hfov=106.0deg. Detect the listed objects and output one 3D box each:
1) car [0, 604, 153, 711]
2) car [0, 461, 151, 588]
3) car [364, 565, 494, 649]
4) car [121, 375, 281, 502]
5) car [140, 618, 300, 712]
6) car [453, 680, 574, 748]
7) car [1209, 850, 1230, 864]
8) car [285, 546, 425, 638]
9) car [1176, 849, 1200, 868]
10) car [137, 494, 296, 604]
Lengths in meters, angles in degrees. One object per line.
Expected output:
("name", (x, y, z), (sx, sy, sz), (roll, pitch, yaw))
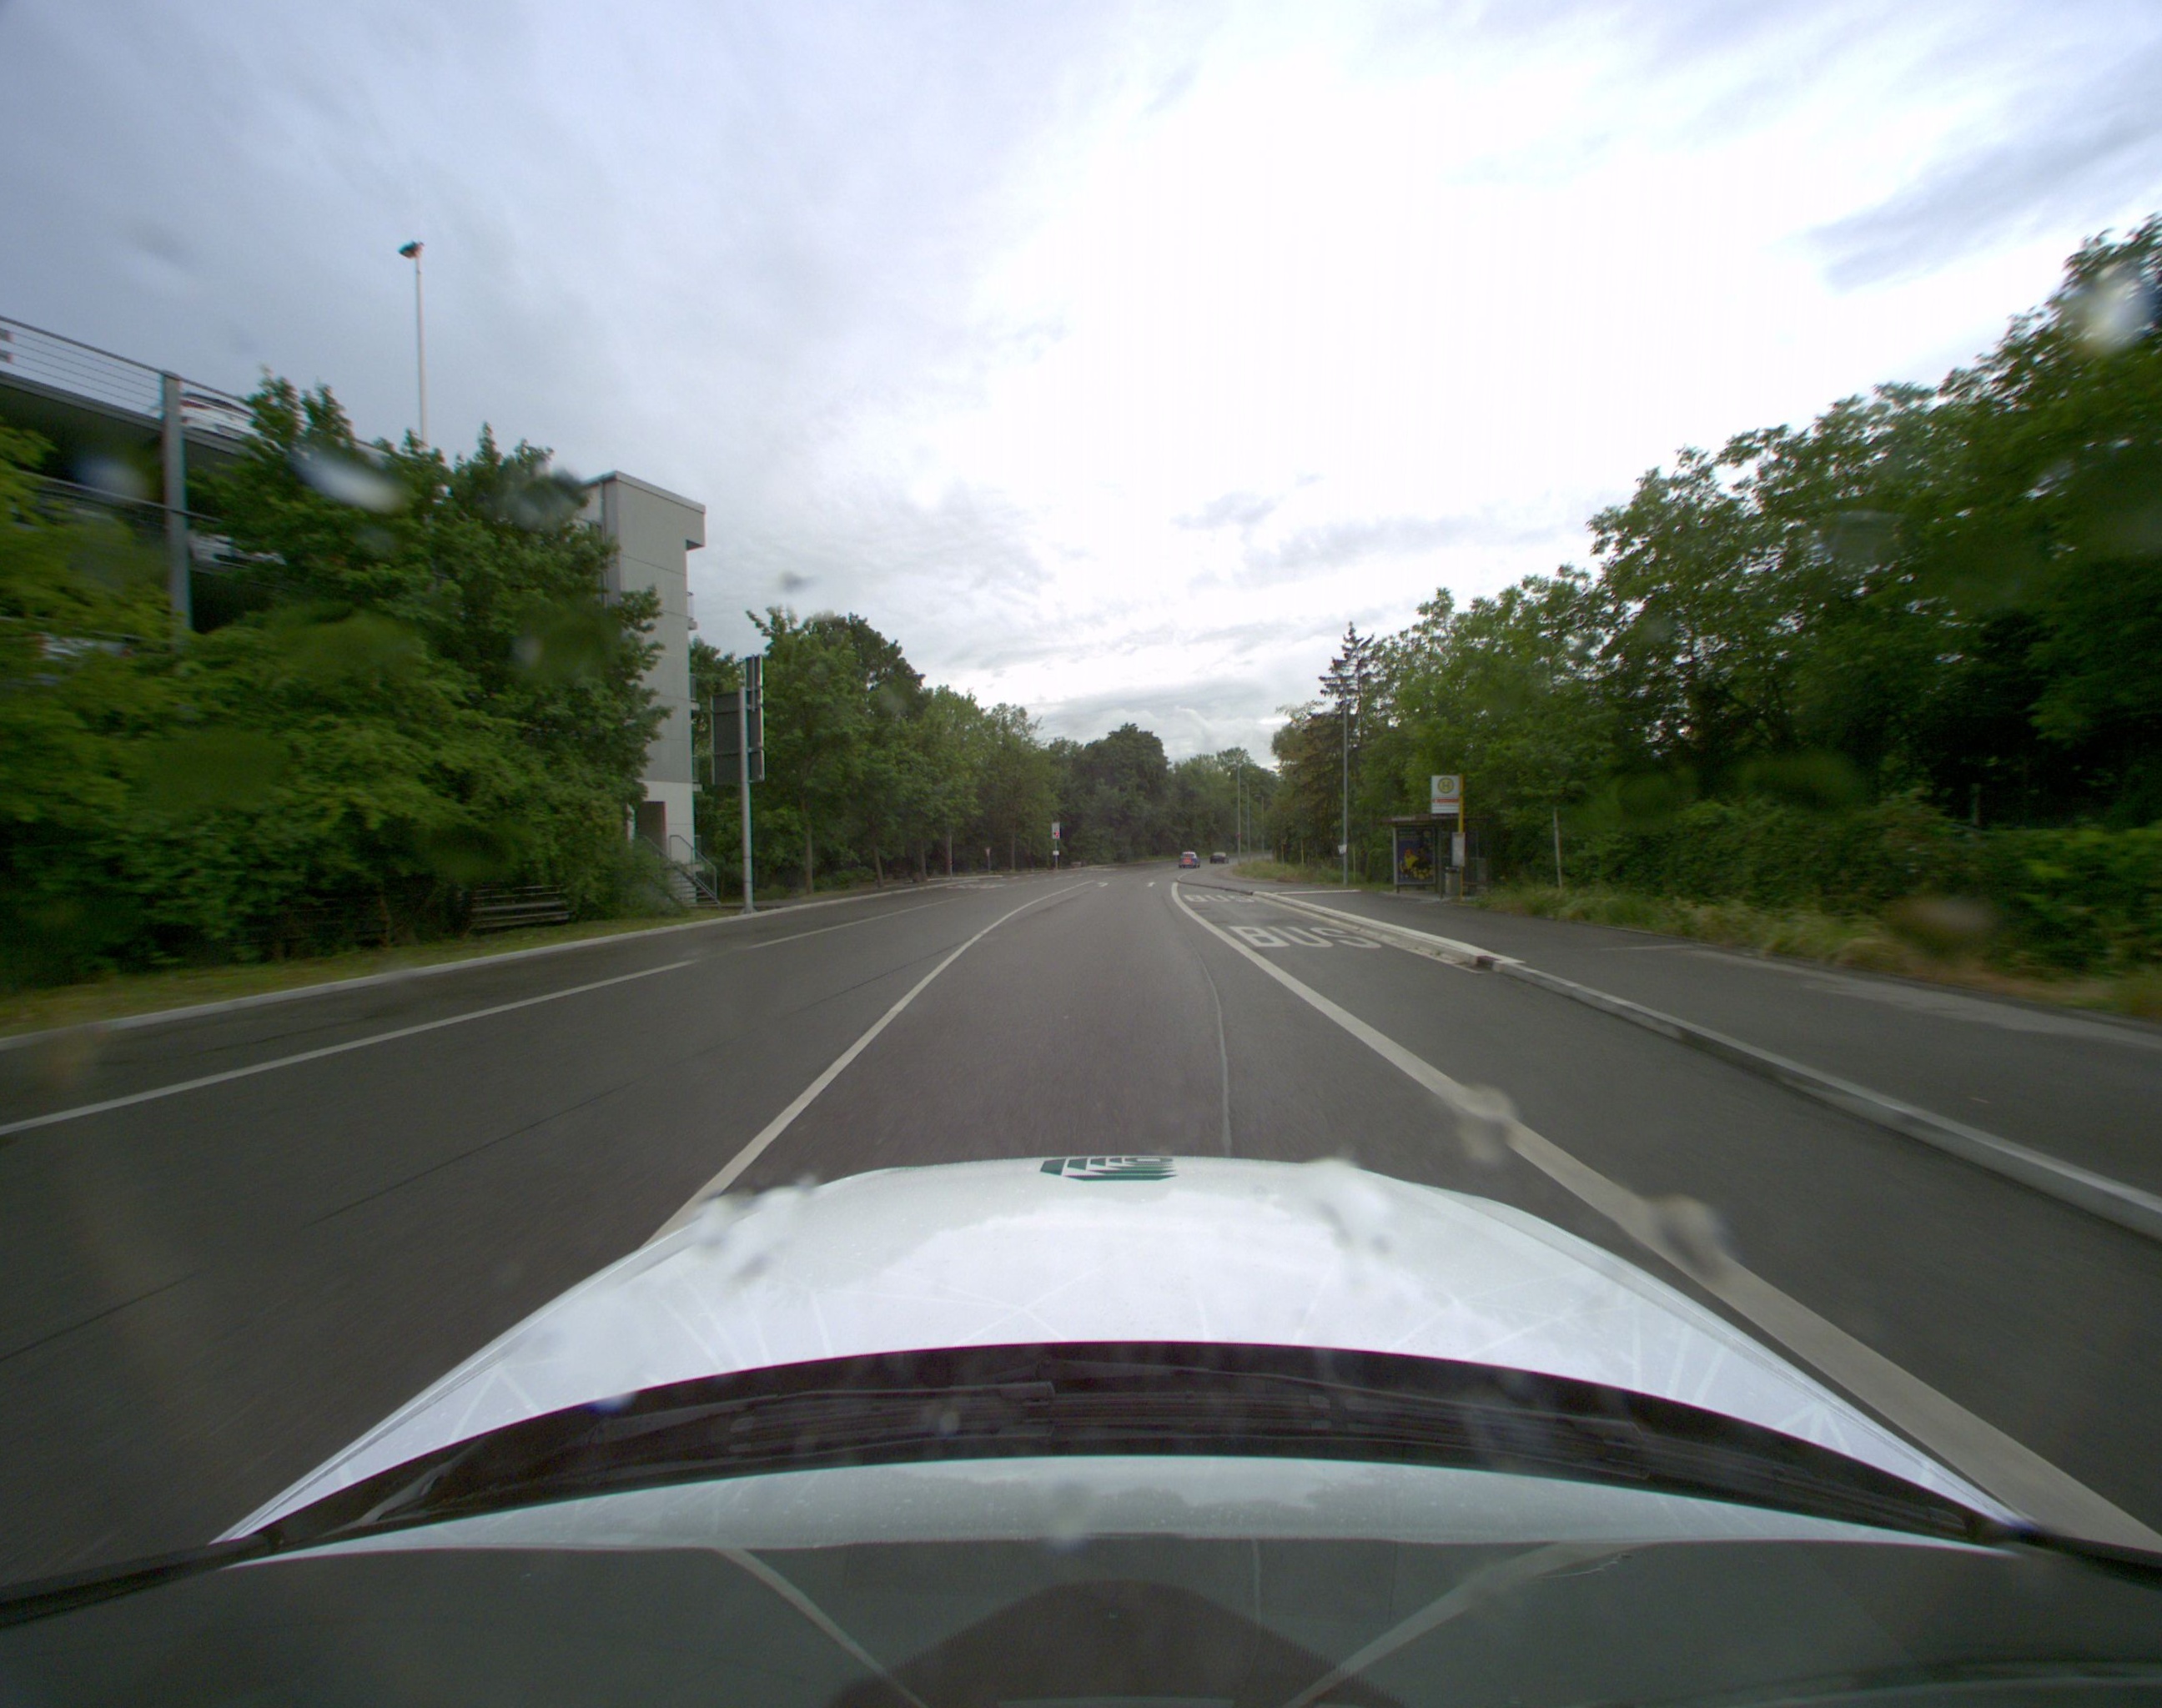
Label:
("car", (-21.817, -4.117, 17.464), (3.204, 1.519, 1.595), (-3, -1, 23))
("car", (-21.915, -6.971, 17.499), (3.204, 1.519, 1.595), (-3, -1, 23))
("car", (-19.049, -7.152, 23.793), (3.204, 1.519, 1.595), (-3, -1, 23))
("car", (-21.044, -9.833, 19.475), (3.204, 1.519, 1.595), (-3, -1, 23))
("car", (-20.666, -4.462, 19.553), (3.204, 1.519, 1.595), (-3, -1, 23))
("car", (-17.719, -4.322, 25.445), (3.204, 1.519, 1.595), (-3, -1, 23))
("car", (17.227, 0.339, 101.251), (1.911, 1.486, 3.818), (-2, 1, 19))
("car", (-19.701, -7.040, 22.118), (3.204, 1.519, 1.595), (-3, -1, 23))
("car", (10.763, 0.448, 81.480), (1.980, 1.689, 4.015), (-2, 1, 13))
("car", (-20.782, -7.242, 19.577), (3.204, 1.519, 1.595), (-3, -1, 23))
